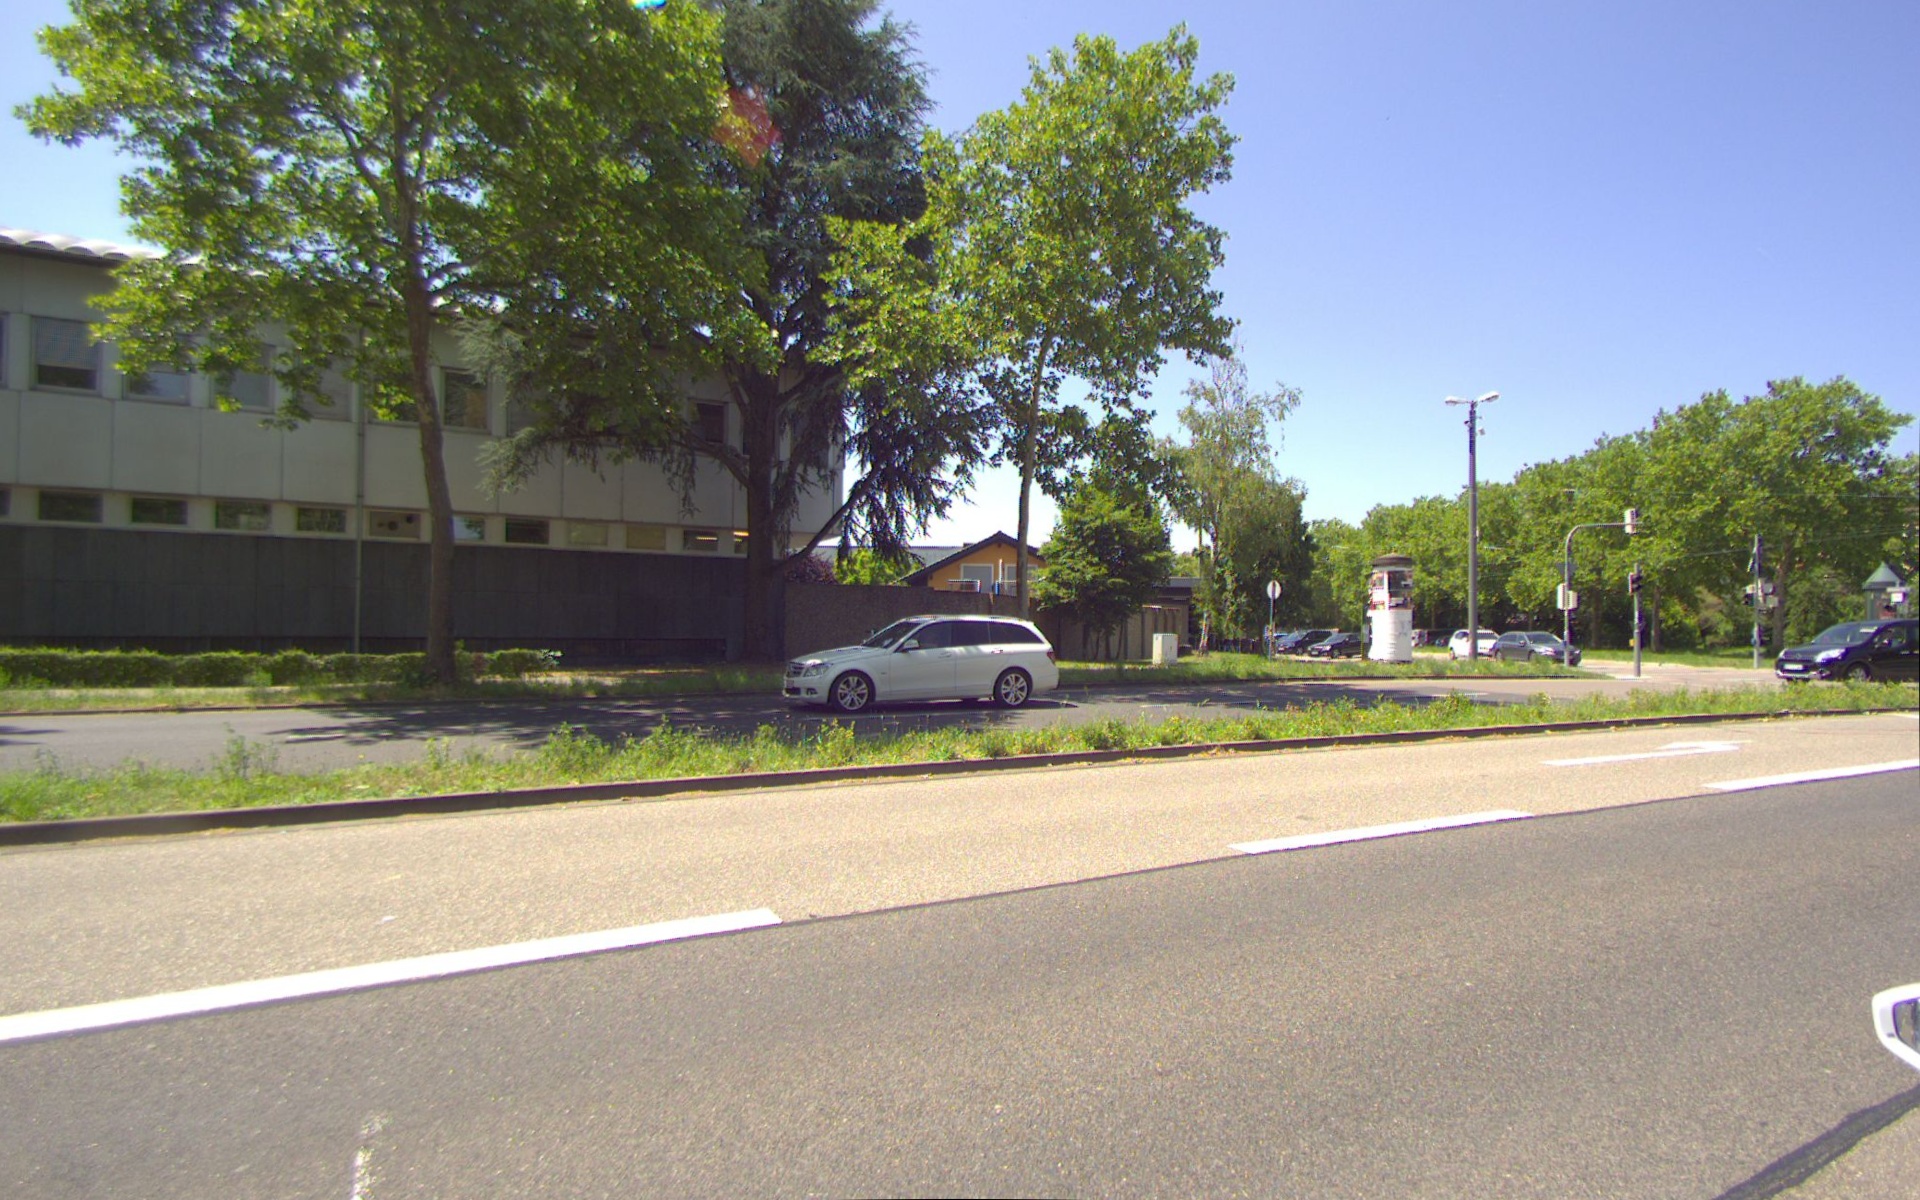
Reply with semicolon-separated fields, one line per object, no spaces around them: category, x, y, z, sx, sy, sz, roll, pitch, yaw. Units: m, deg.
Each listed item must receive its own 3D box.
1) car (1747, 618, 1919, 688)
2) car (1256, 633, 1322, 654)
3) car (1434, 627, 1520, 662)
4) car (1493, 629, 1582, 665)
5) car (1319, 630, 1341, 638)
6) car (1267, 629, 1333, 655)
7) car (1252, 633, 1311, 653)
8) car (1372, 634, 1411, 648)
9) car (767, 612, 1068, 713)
car;23.176;1.344;25.874;4.357;1.701;1.917;1;-1;-2
car;22.975;3.020;70.185;4.330;1.430;1.866;1;-2;-26
car;25.831;2.197;50.414;2.172;1.626;4.463;0;-1;2
car;25.065;1.994;43.742;1.729;1.476;3.994;0;-1;2
car;49.813;4.610;135.309;2.667;1.007;1.009;1;-1;-1
car;22.615;2.773;66.736;4.138;1.672;1.773;1;-2;-26
car;24.366;3.244;76.150;4.004;1.442;1.936;1;-2;-24
car;45.957;4.386;106.938;3.481;1.415;1.500;1;-1;-2
car;-0.650;0.952;16.121;4.489;1.437;1.847;1;-1;-27
